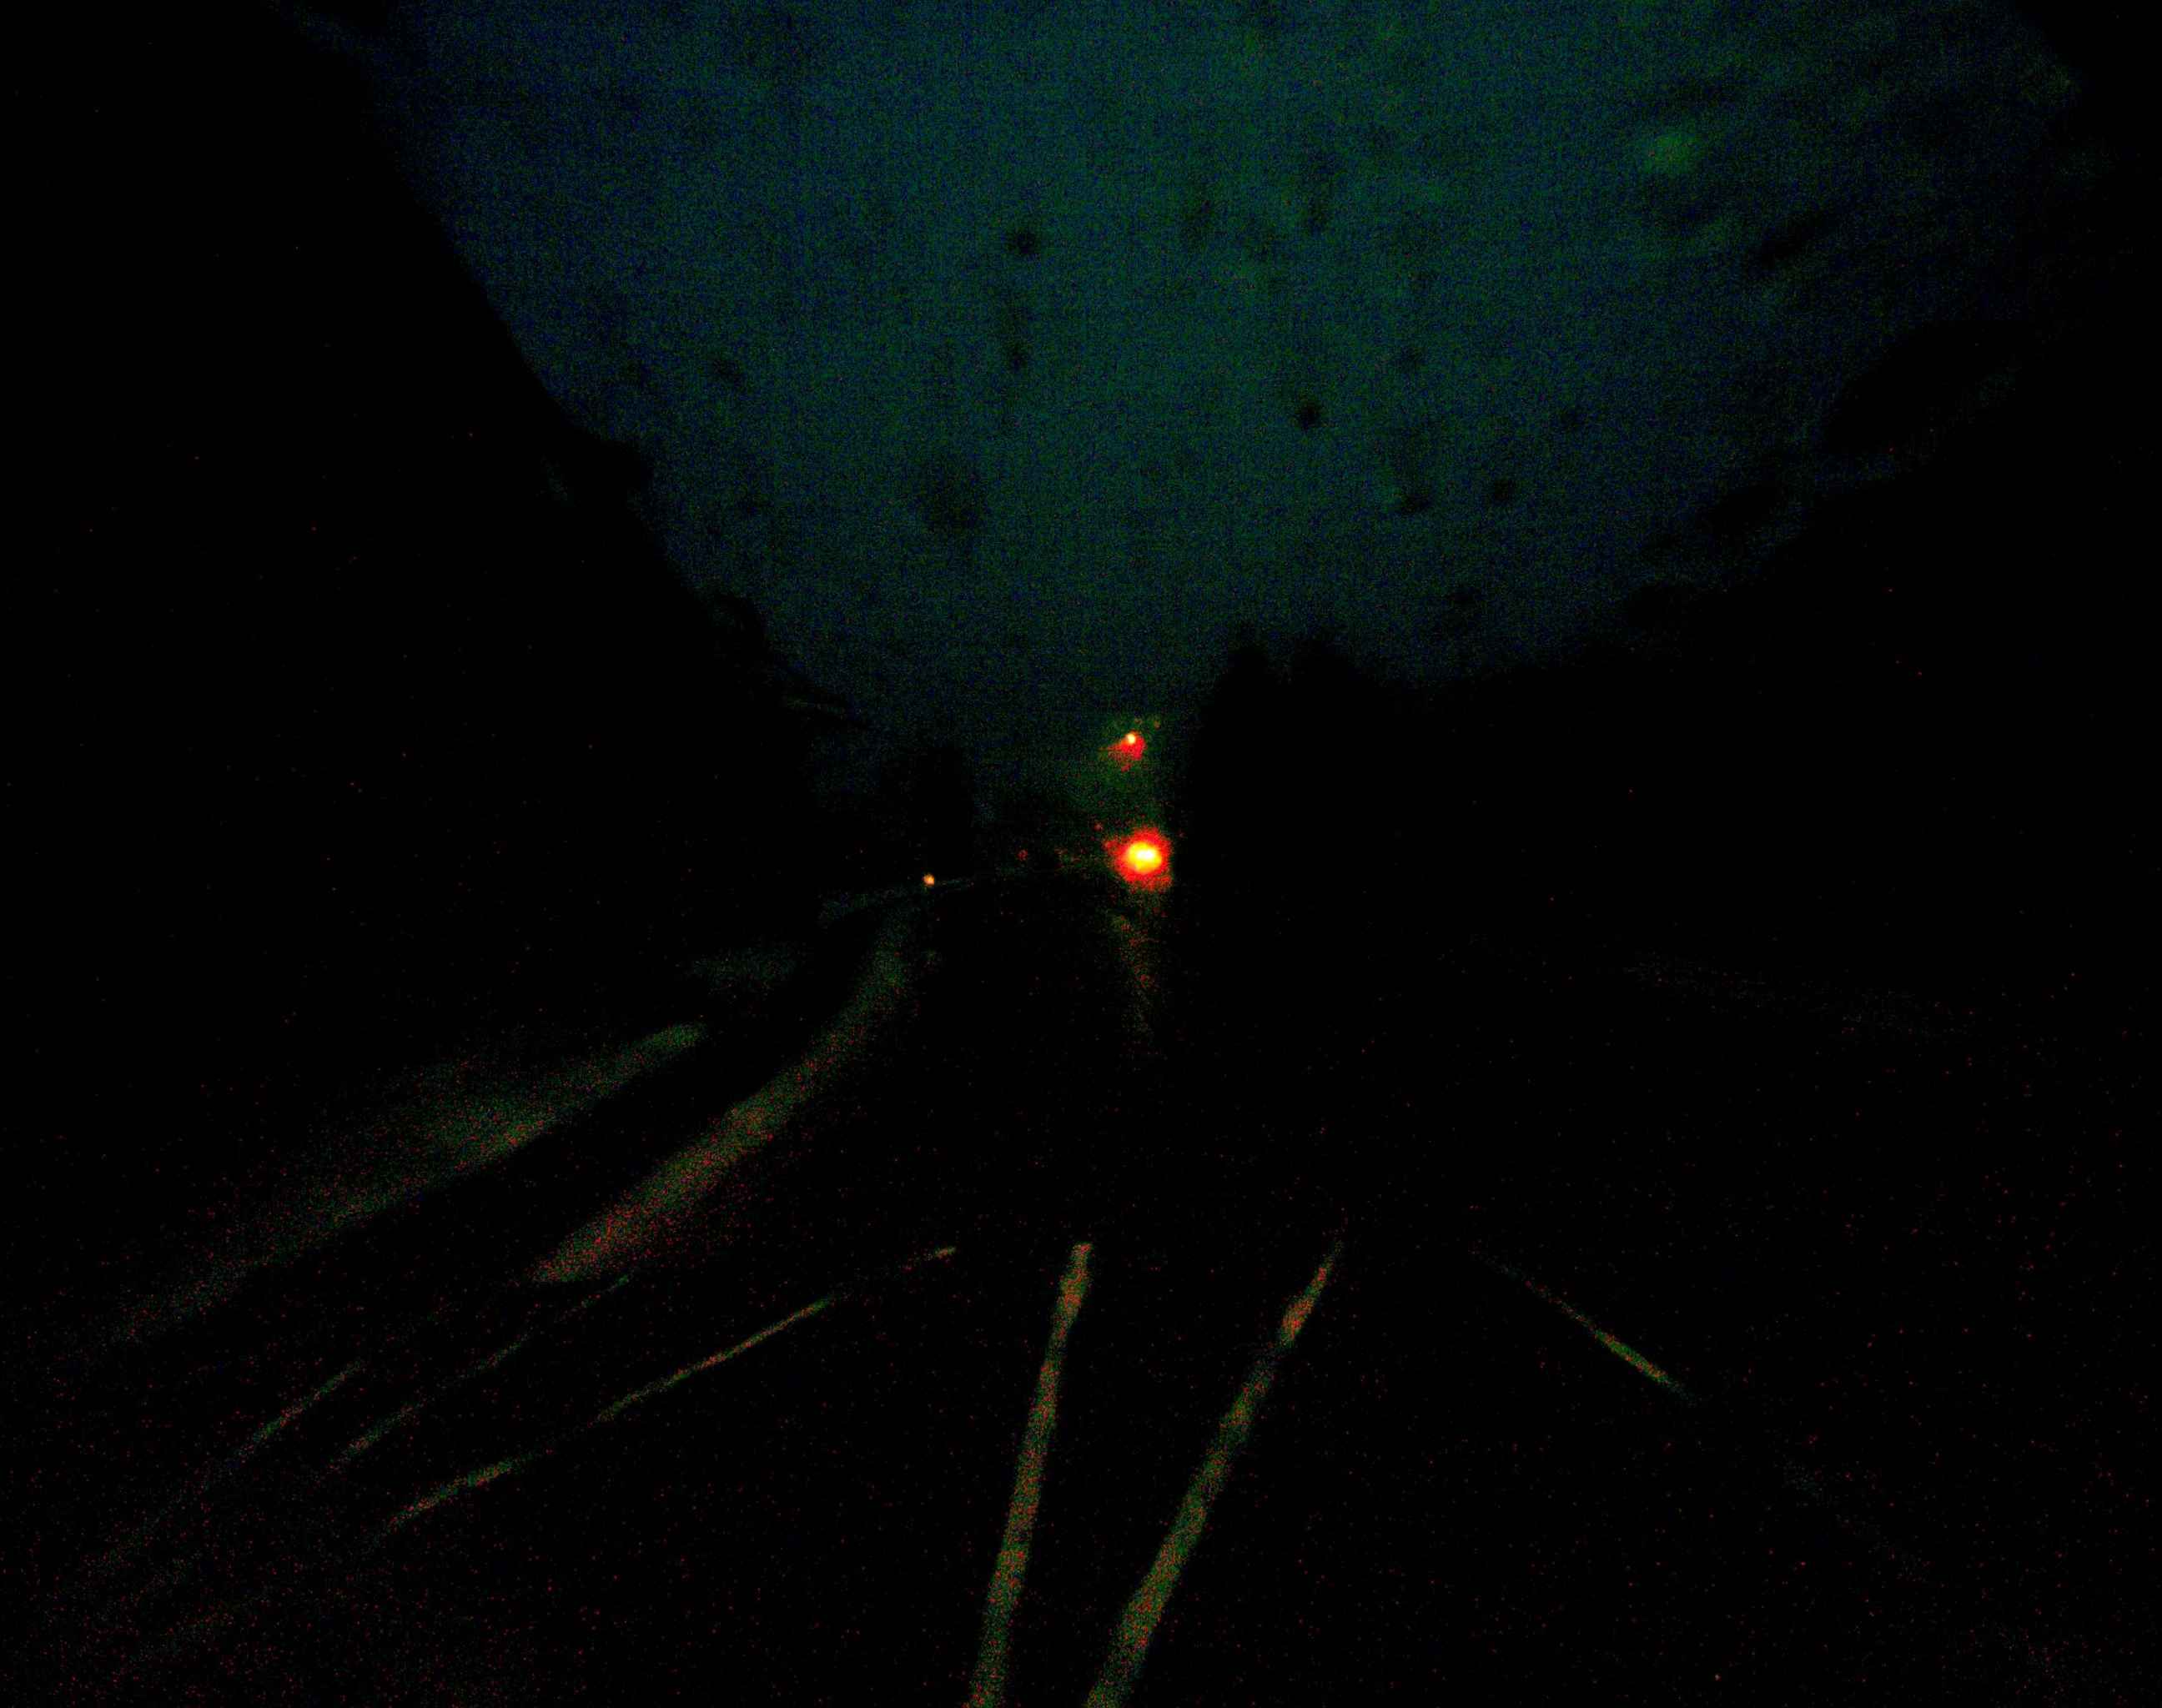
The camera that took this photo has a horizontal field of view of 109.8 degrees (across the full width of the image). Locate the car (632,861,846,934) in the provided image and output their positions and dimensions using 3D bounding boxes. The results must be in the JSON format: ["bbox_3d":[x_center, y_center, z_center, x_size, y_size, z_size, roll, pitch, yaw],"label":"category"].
[{"bbox_3d":[-7.969,0.982,17.929,4.166,1.550,1.947,0,2,7],"label":"car"}]

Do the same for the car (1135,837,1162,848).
[{"bbox_3d":[11.427,-1.953,128.712,4.207,1.848,1.914,2,4,32],"label":"car"}]

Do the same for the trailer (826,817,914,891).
[{"bbox_3d":[-10.877,-0.046,39.701,2.881,3.540,5.061,-2,2,3],"label":"trailer"}]

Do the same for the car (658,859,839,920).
[{"bbox_3d":[-9.292,0.946,21.391,4.249,1.550,2.001,0,2,12],"label":"car"}]

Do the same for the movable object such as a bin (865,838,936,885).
[{"bbox_3d":[-10.408,0.384,44.311,2.391,2.455,4.517,-2,2,9],"label":"movable object such as a bin"}]
